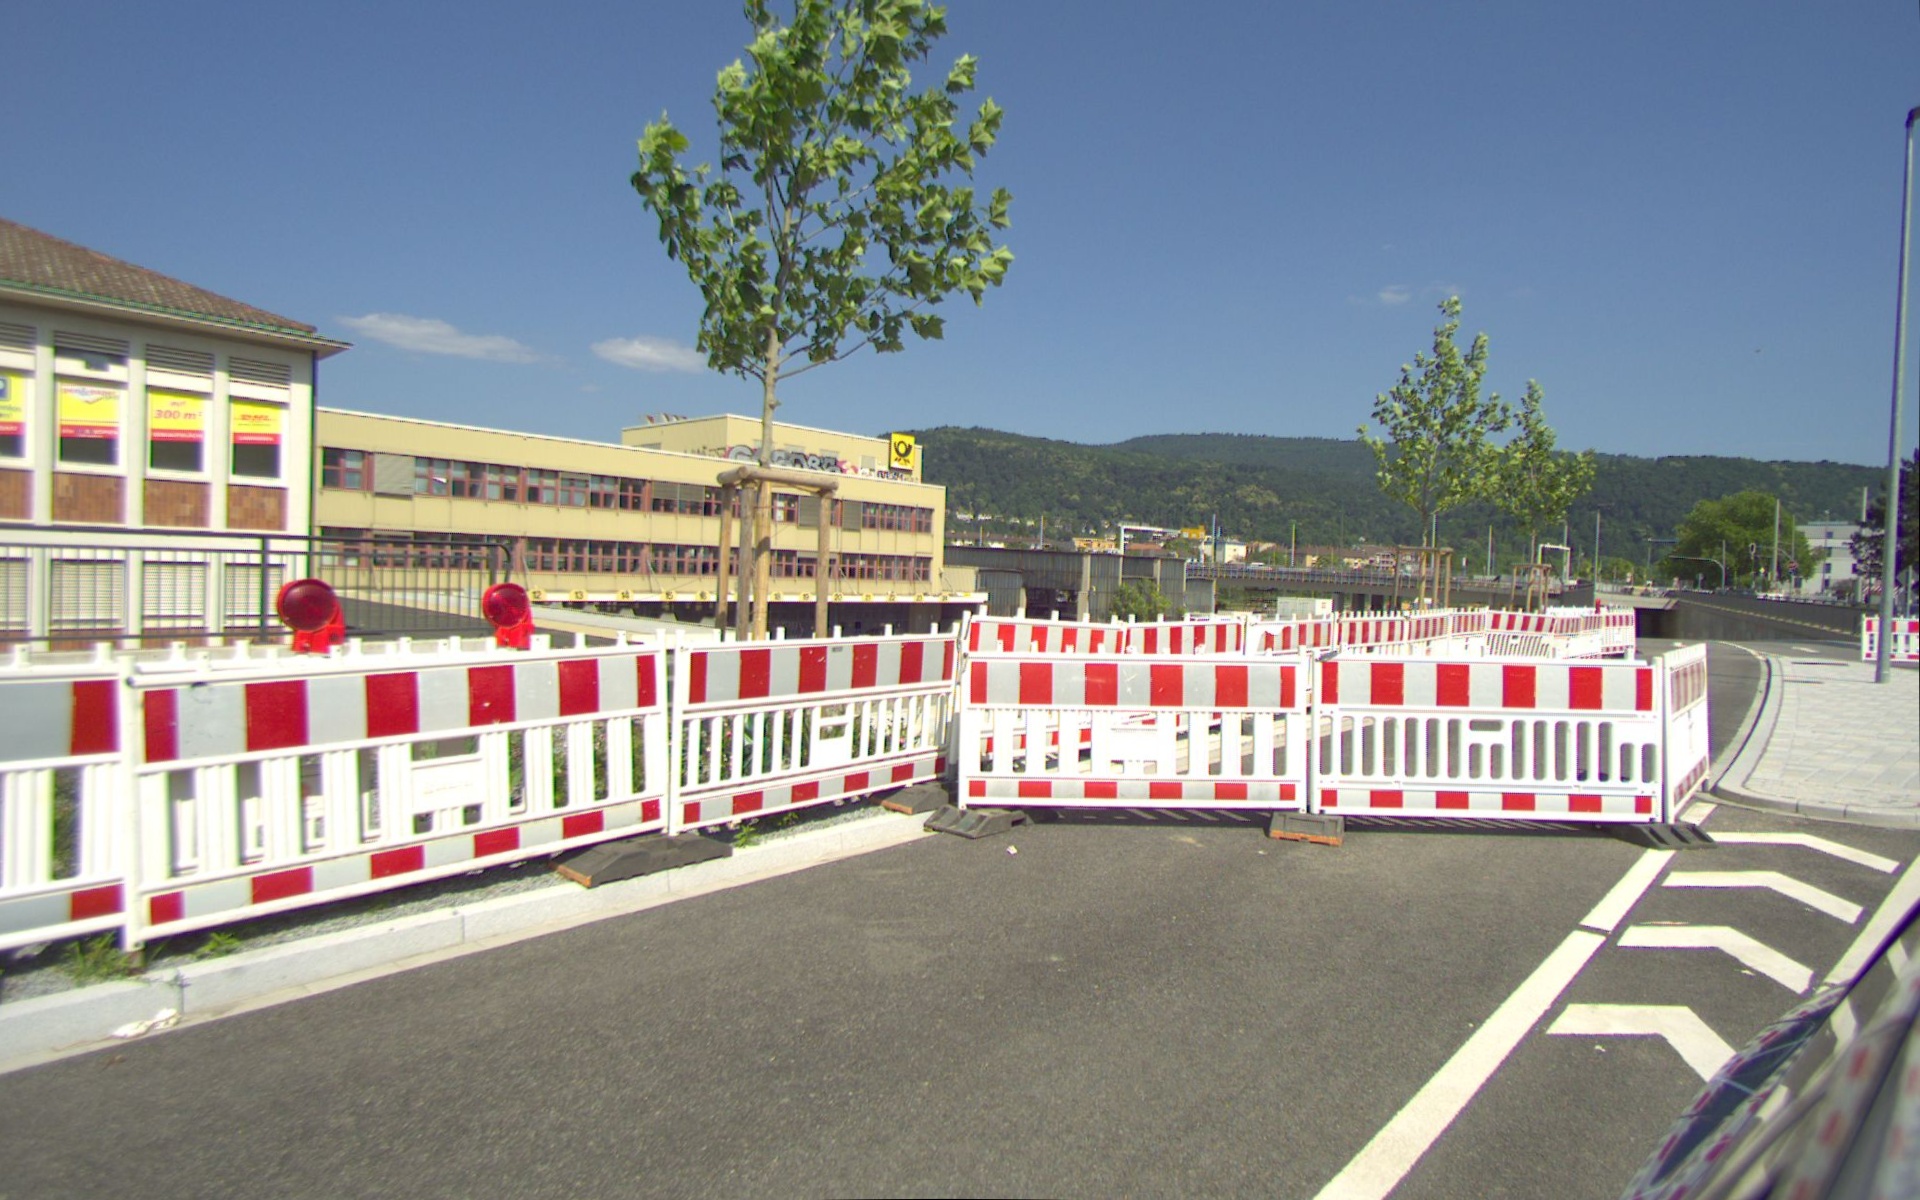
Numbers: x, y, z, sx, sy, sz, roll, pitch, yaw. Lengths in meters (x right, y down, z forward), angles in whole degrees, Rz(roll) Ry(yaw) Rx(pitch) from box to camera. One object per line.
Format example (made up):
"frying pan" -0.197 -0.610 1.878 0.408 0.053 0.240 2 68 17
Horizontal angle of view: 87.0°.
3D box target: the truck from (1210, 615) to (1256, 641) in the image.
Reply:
"truck" 33.770 3.423 124.898 1.992 2.791 8.268 2 2 42

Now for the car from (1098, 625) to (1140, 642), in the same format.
"car" 17.310 3.652 110.354 4.352 1.604 1.720 2 2 42

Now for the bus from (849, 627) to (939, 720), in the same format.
"bus" -4.377 4.088 61.543 2.609 3.810 17.166 0 2 -13

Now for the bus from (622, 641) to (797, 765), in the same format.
"bus" -10.777 4.245 45.693 2.622 3.810 13.108 1 2 10

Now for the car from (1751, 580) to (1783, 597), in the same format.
"car" 75.340 -1.120 94.516 1.606 1.459 3.730 2 2 29

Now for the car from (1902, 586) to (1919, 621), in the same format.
"car" 43.419 0.171 45.007 1.609 1.459 3.722 3 3 34

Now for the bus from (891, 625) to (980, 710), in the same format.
"bus" -1.991 4.094 66.596 2.609 3.810 17.515 0 2 -12
